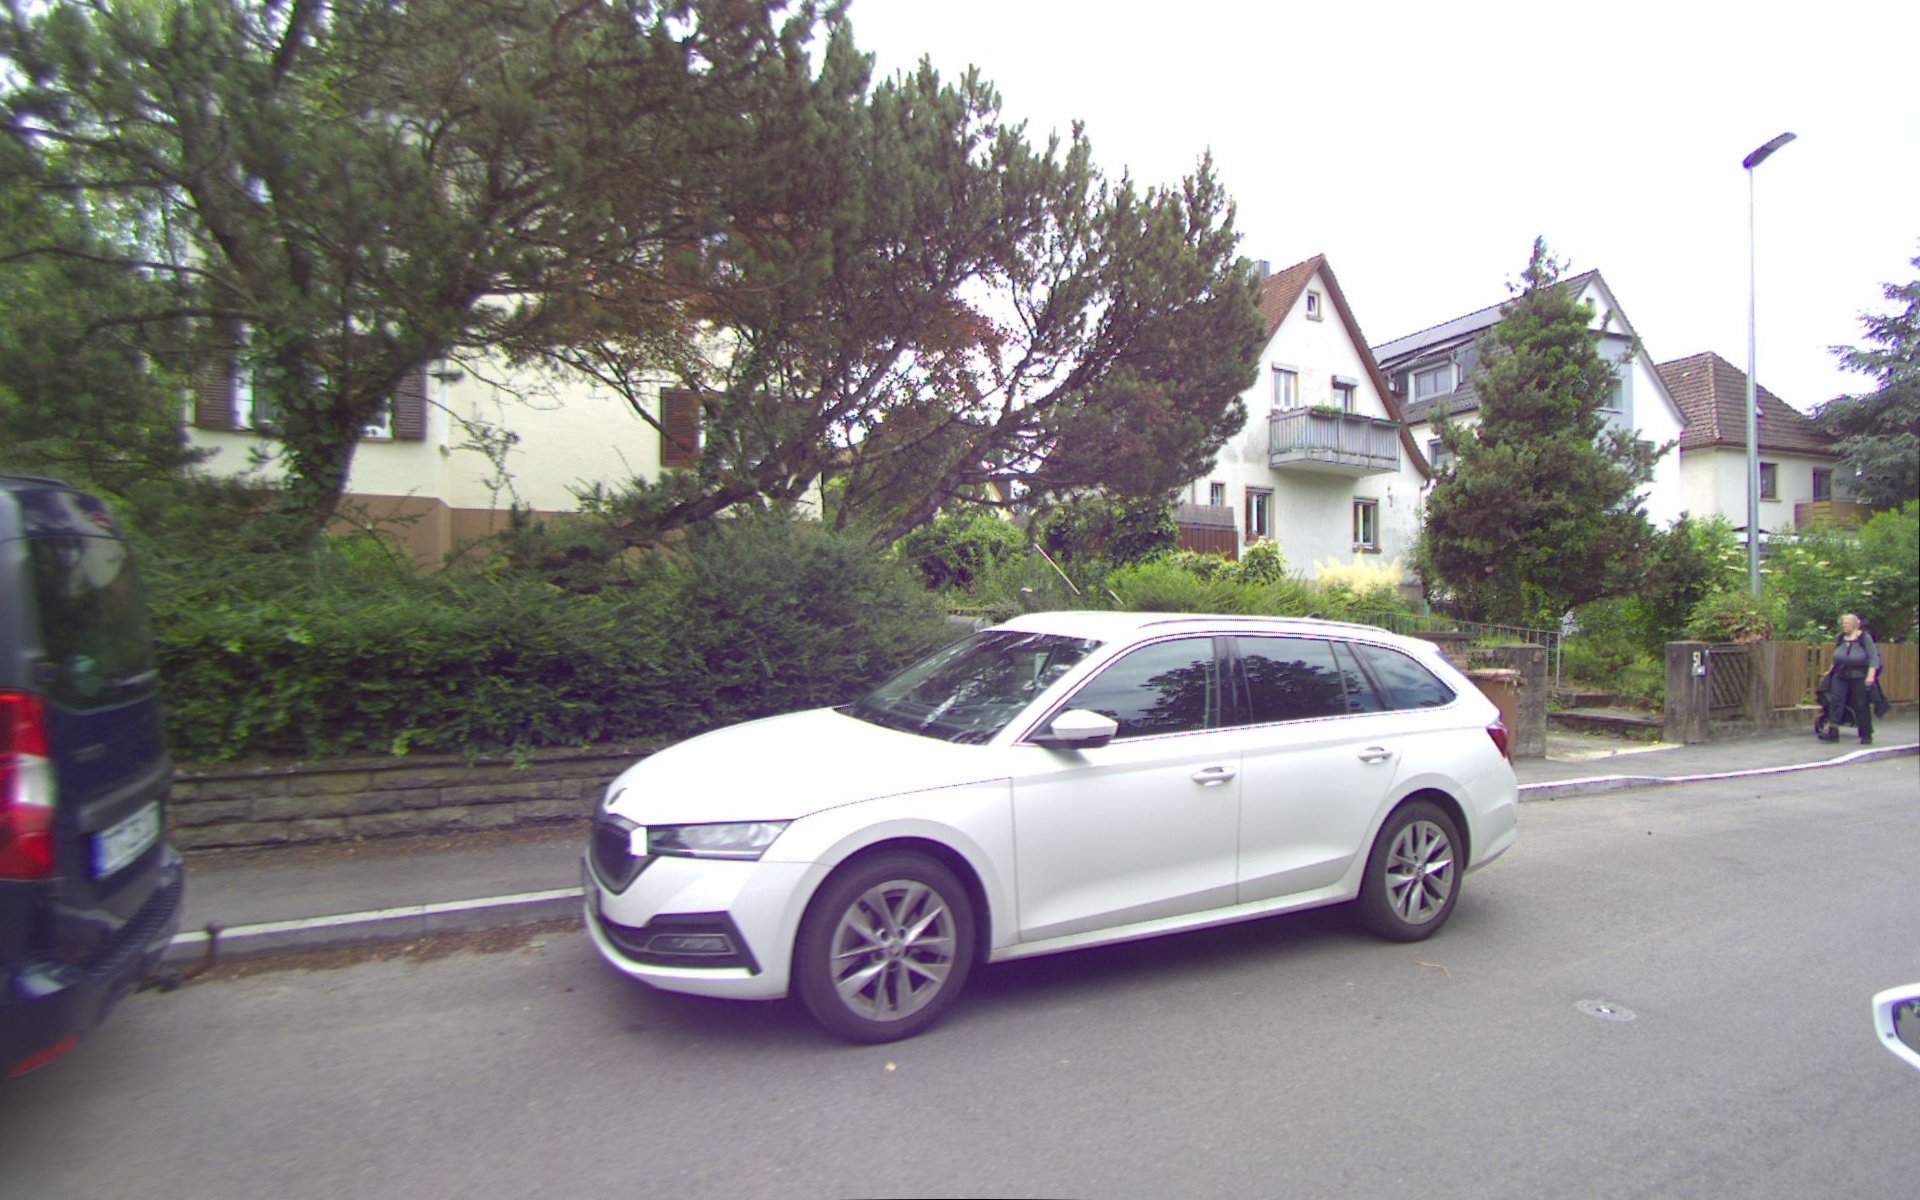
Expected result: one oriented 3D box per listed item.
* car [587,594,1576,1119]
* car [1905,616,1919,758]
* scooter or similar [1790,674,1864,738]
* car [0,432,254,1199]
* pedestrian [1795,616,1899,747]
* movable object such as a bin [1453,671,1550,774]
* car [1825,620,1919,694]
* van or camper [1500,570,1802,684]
[{"bbox_3d":[0.728,0.796,4.757,4.497,1.531,1.700,1,-1,-28],"label":"car"},{"bbox_3d":[13.707,1.081,12.374,4.338,1.686,1.784,1,-1,-29],"label":"car"},{"bbox_3d":[11.724,1.418,13.585,0.703,0.789,0.568,1,-1,-31],"label":"scooter or similar"},{"bbox_3d":[-4.143,0.505,2.034,4.247,1.823,1.699,1,-1,-30],"label":"car"},{"bbox_3d":[11.310,1.013,12.817,0.810,1.595,0.766,1,-1,-29],"label":"pedestrian"},{"bbox_3d":[5.453,1.211,10.132,0.647,0.945,0.608,1,0,-30],"label":"movable object such as a bin"},{"bbox_3d":[22.009,1.299,22.247,1.811,1.568,3.987,1,0,-15],"label":"car"},{"bbox_3d":[18.410,0.609,27.357,2.288,2.686,6.670,1,1,-20],"label":"van or camper"}]
